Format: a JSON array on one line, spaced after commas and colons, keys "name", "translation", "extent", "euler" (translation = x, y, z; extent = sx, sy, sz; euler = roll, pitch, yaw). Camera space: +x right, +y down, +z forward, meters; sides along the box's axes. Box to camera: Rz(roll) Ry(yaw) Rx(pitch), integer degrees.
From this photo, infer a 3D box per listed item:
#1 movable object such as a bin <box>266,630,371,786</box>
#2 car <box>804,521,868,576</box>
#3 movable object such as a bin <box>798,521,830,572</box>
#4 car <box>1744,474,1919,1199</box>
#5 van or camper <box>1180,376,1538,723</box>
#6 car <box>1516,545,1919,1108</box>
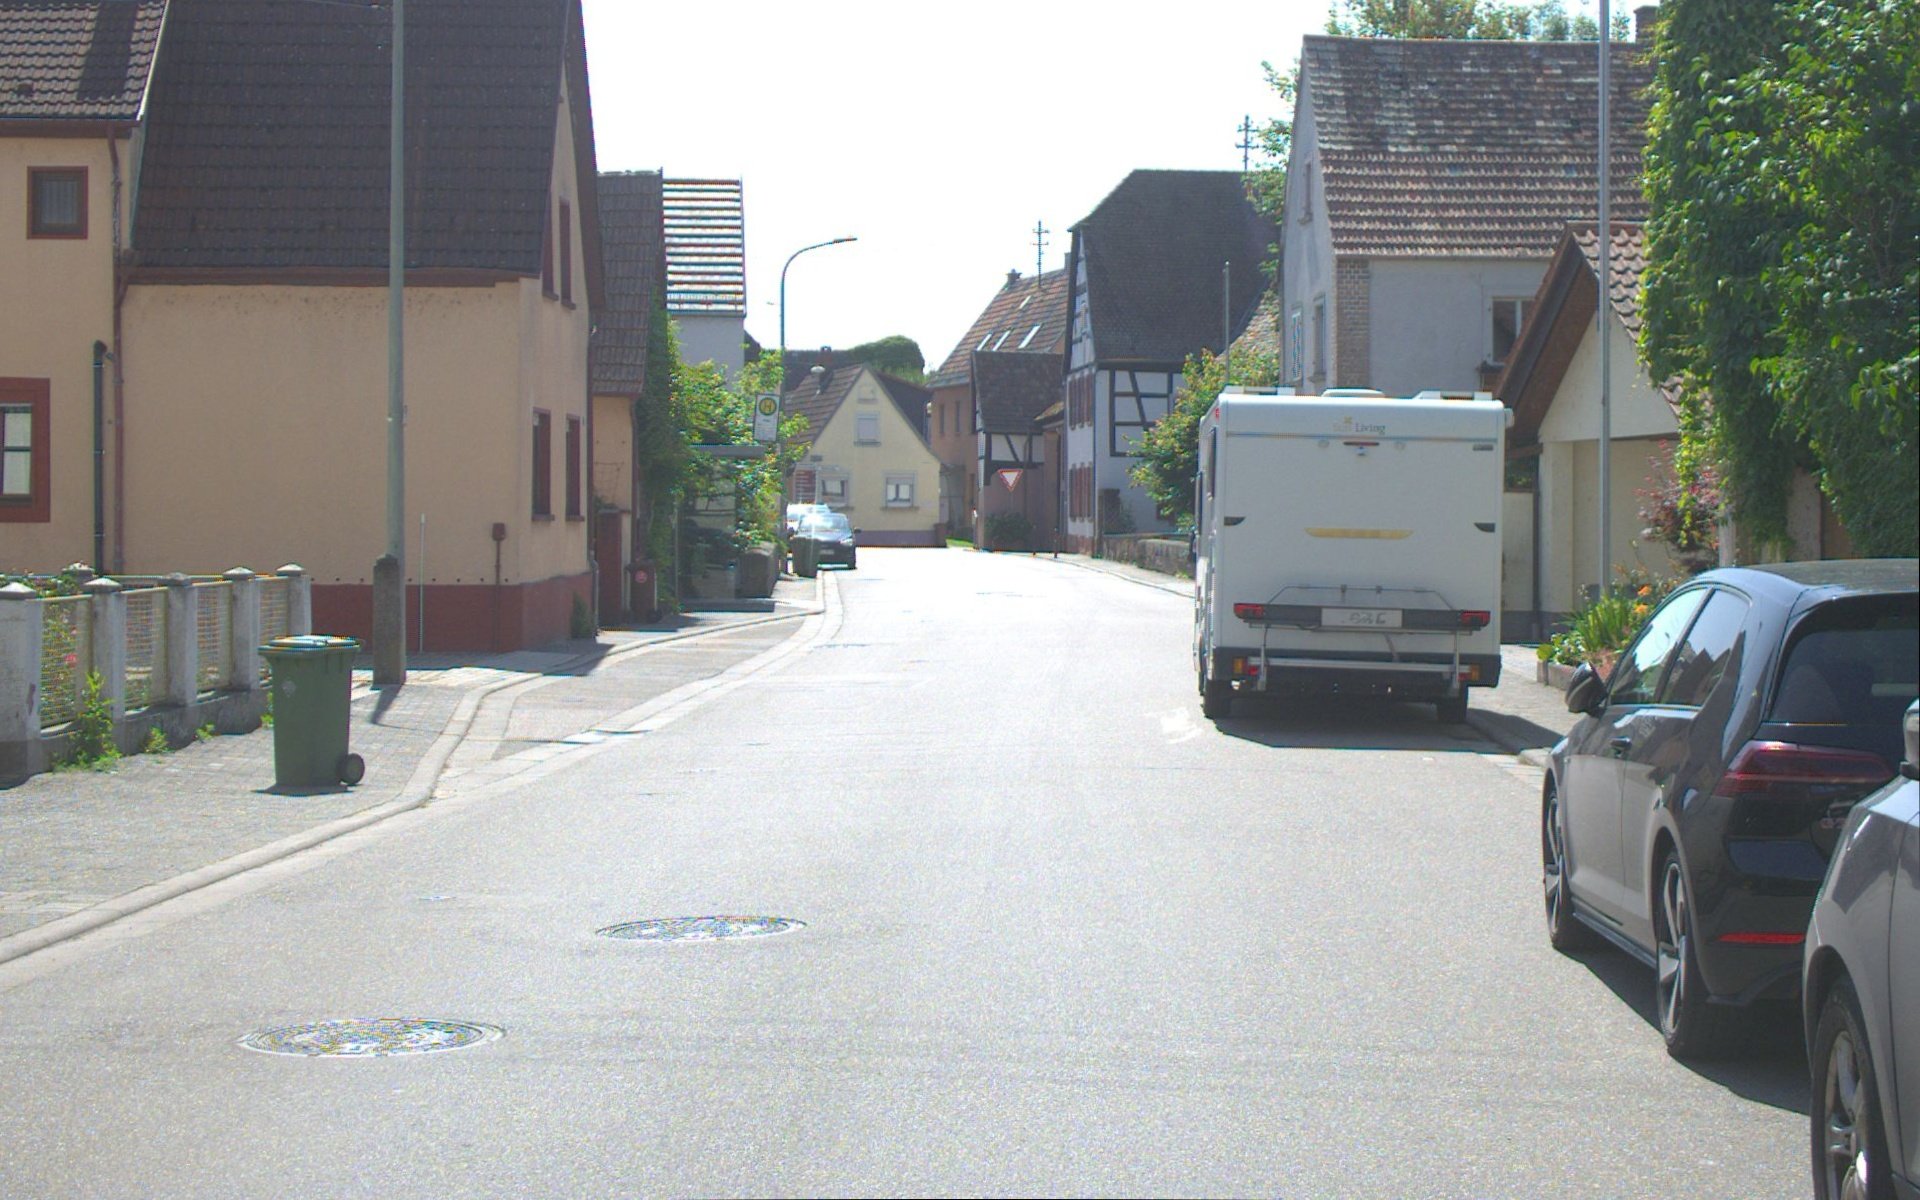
[{"name": "movable object such as a bin", "translation": [-4.044, 0.673, 21.681], "extent": [0.539, 0.946, 0.553], "euler": [1, 1, 1]}, {"name": "car", "translation": [-3.332, -1.410, 92.680], "extent": [1.511, 1.431, 3.511], "euler": [-1, 1, 1]}, {"name": "movable object such as a bin", "translation": [-3.412, -1.250, 80.221], "extent": [0.688, 1.181, 0.714], "euler": [-1, 1, 1]}, {"name": "car", "translation": [2.500, 0.609, 5.261], "extent": [1.794, 1.625, 4.360], "euler": [0, 2, 3]}, {"name": "van or camper", "translation": [3.246, -0.440, 28.959], "extent": [2.521, 2.687, 4.555], "euler": [0, 1, 1]}, {"name": "car", "translation": [2.923, 0.575, 11.196], "extent": [1.712, 1.459, 4.065], "euler": [-1, 1, 2]}]
